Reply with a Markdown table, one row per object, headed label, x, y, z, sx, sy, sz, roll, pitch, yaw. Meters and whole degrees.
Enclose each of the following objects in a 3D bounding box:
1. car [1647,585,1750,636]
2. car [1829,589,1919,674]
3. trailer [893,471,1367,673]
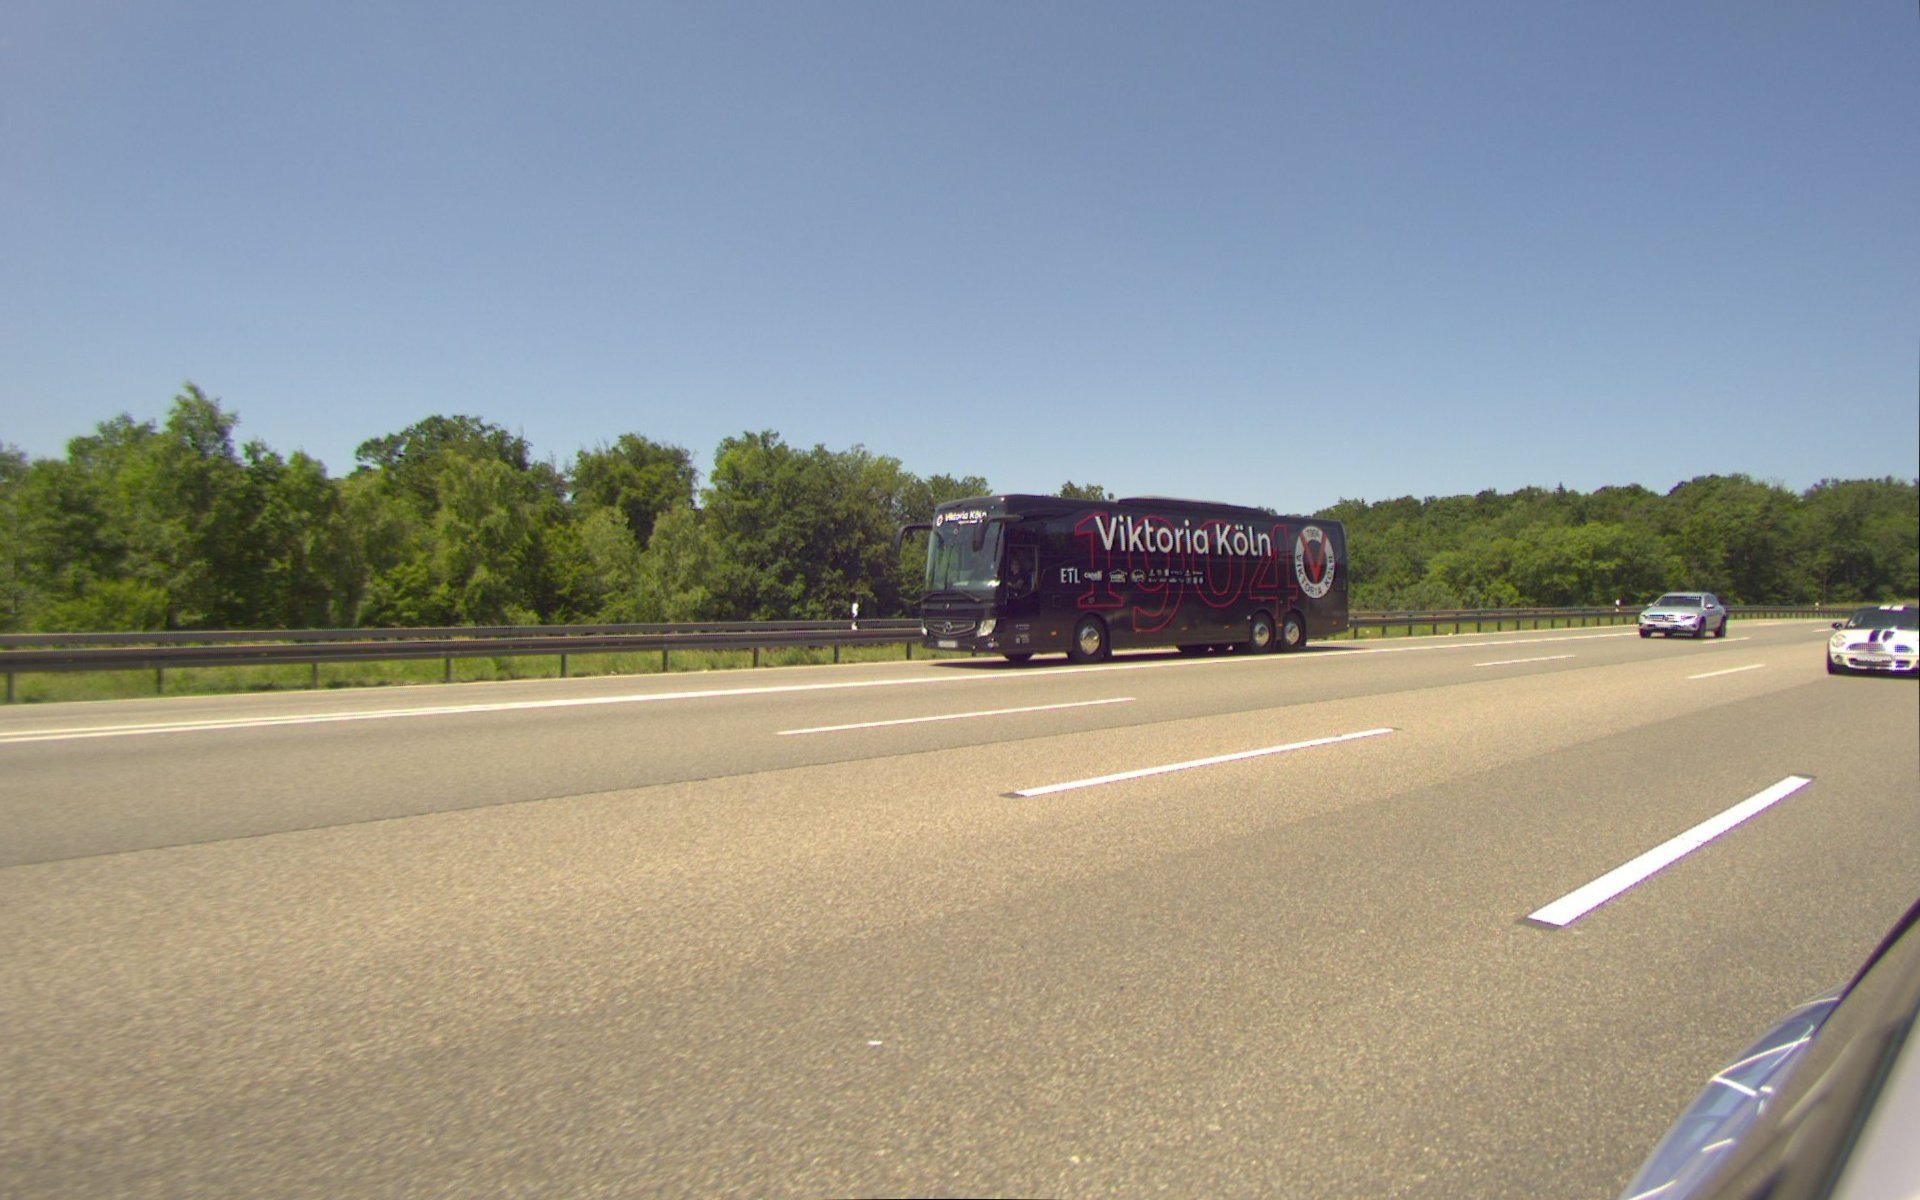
| label | x | y | z | sx | sy | sz | roll | pitch | yaw |
| --- | --- | --- | --- | --- | --- | --- | --- | --- | --- |
| car | 26.961 | 0.379 | 36.886 | 5.144 | 1.753 | 1.805 | 1 | 0 | -39 |
| car | 18.990 | 0.588 | 20.282 | 3.930 | 1.571 | 1.844 | 0 | 0 | -41 |
| trailer | 4.705 | -0.591 | 23.909 | 13.296 | 3.734 | 2.864 | -1 | 0 | -38 |
